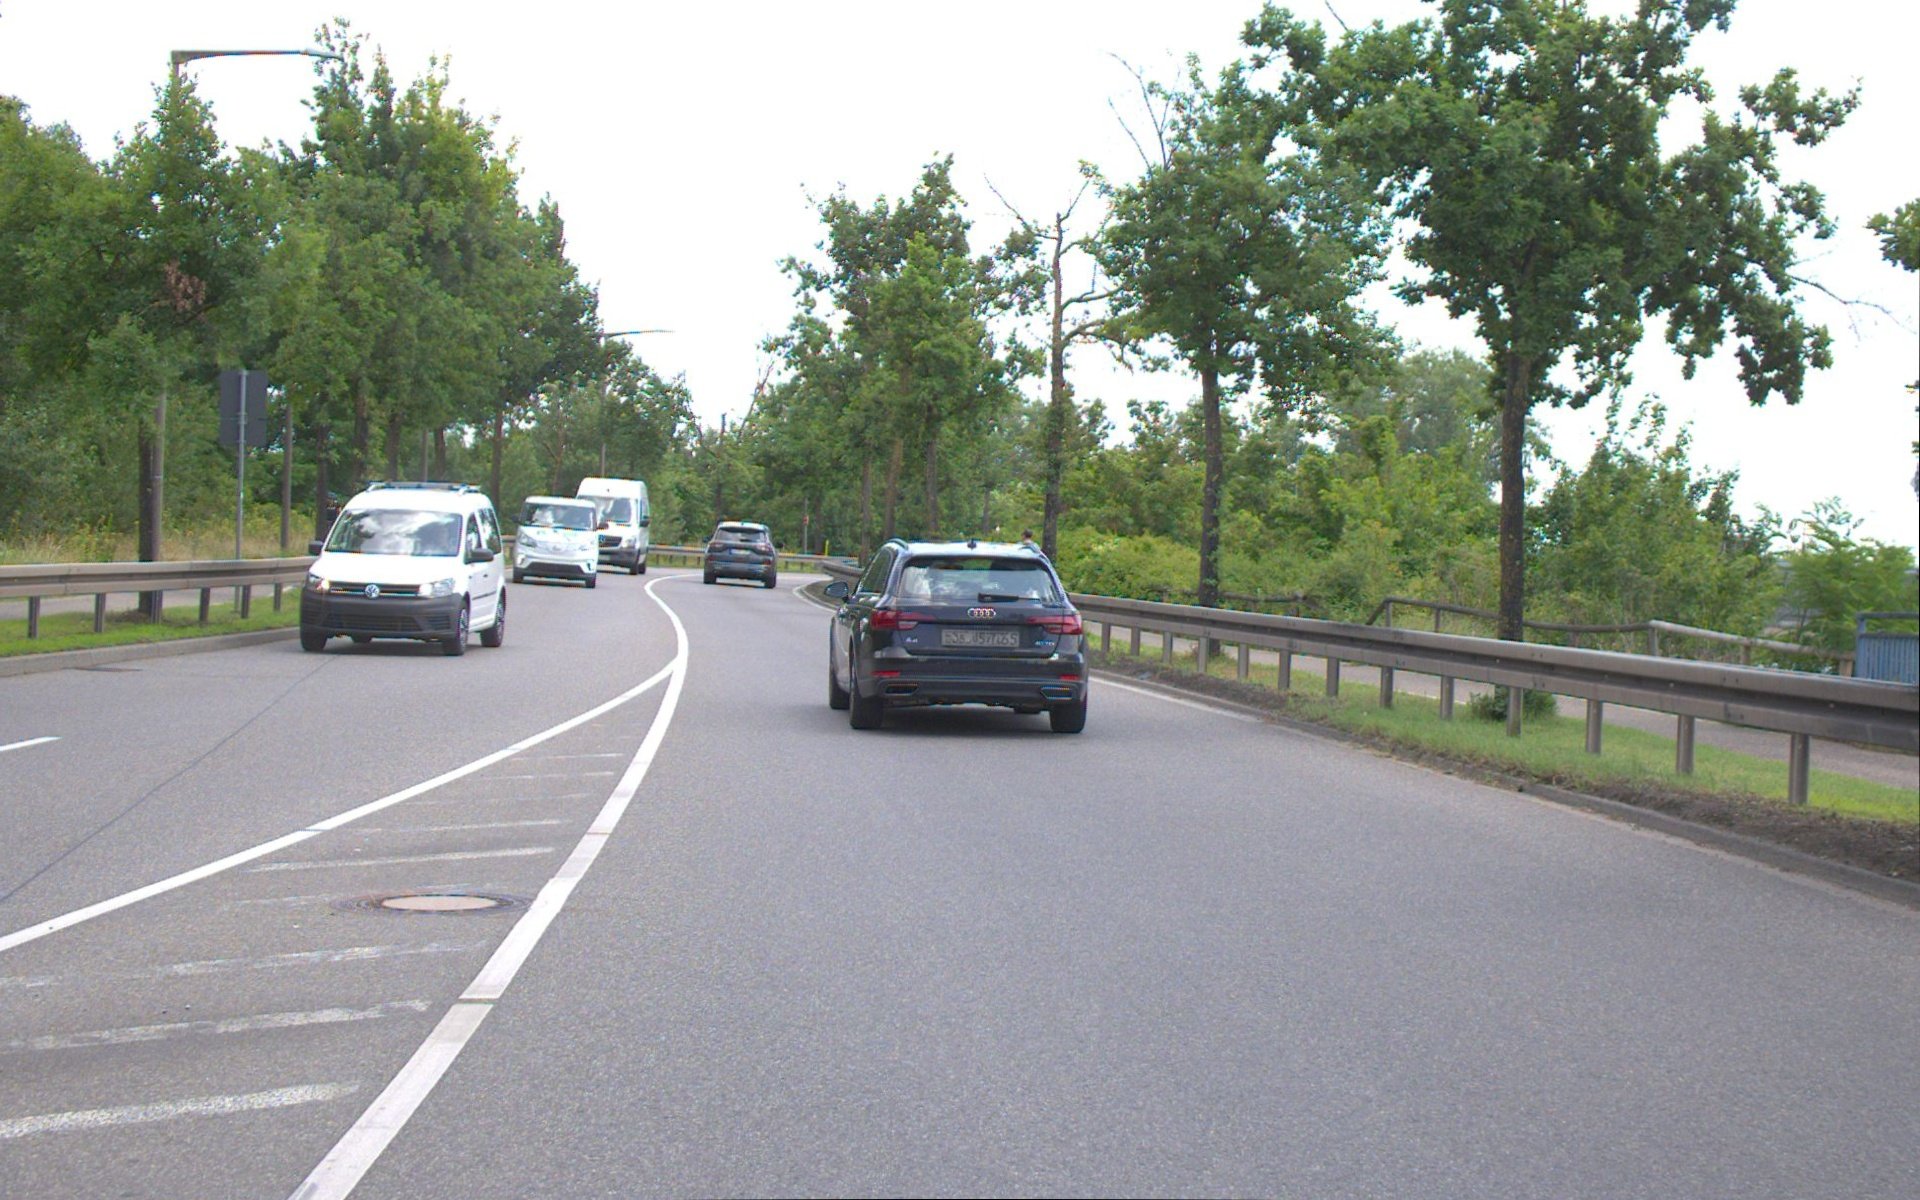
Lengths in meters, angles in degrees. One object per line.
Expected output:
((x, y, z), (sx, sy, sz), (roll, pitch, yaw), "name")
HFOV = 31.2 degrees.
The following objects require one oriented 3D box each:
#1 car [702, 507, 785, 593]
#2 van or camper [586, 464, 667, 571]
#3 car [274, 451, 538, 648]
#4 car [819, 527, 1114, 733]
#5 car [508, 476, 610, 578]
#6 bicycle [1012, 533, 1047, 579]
((-5.661, -1.282, 90.416), (1.993, 2.030, 4.713), (2, -1, -2), "car")
((-9.211, -2.242, 95.017), (1.993, 2.741, 5.387), (4, 0, -6), "van or camper")
((-6.157, -0.607, 38.748), (1.994, 2.006, 4.558), (3, 2, 2), "car")
((-0.044, 0.187, 27.122), (1.993, 1.386, 4.576), (3, 1, -3), "car")
((-8.627, -1.531, 73.874), (1.993, 2.007, 4.456), (4, 0, -7), "car")
((1.373, -0.866, 68.110), (0.542, 0.863, 1.750), (4, 0, -2), "bicycle")
